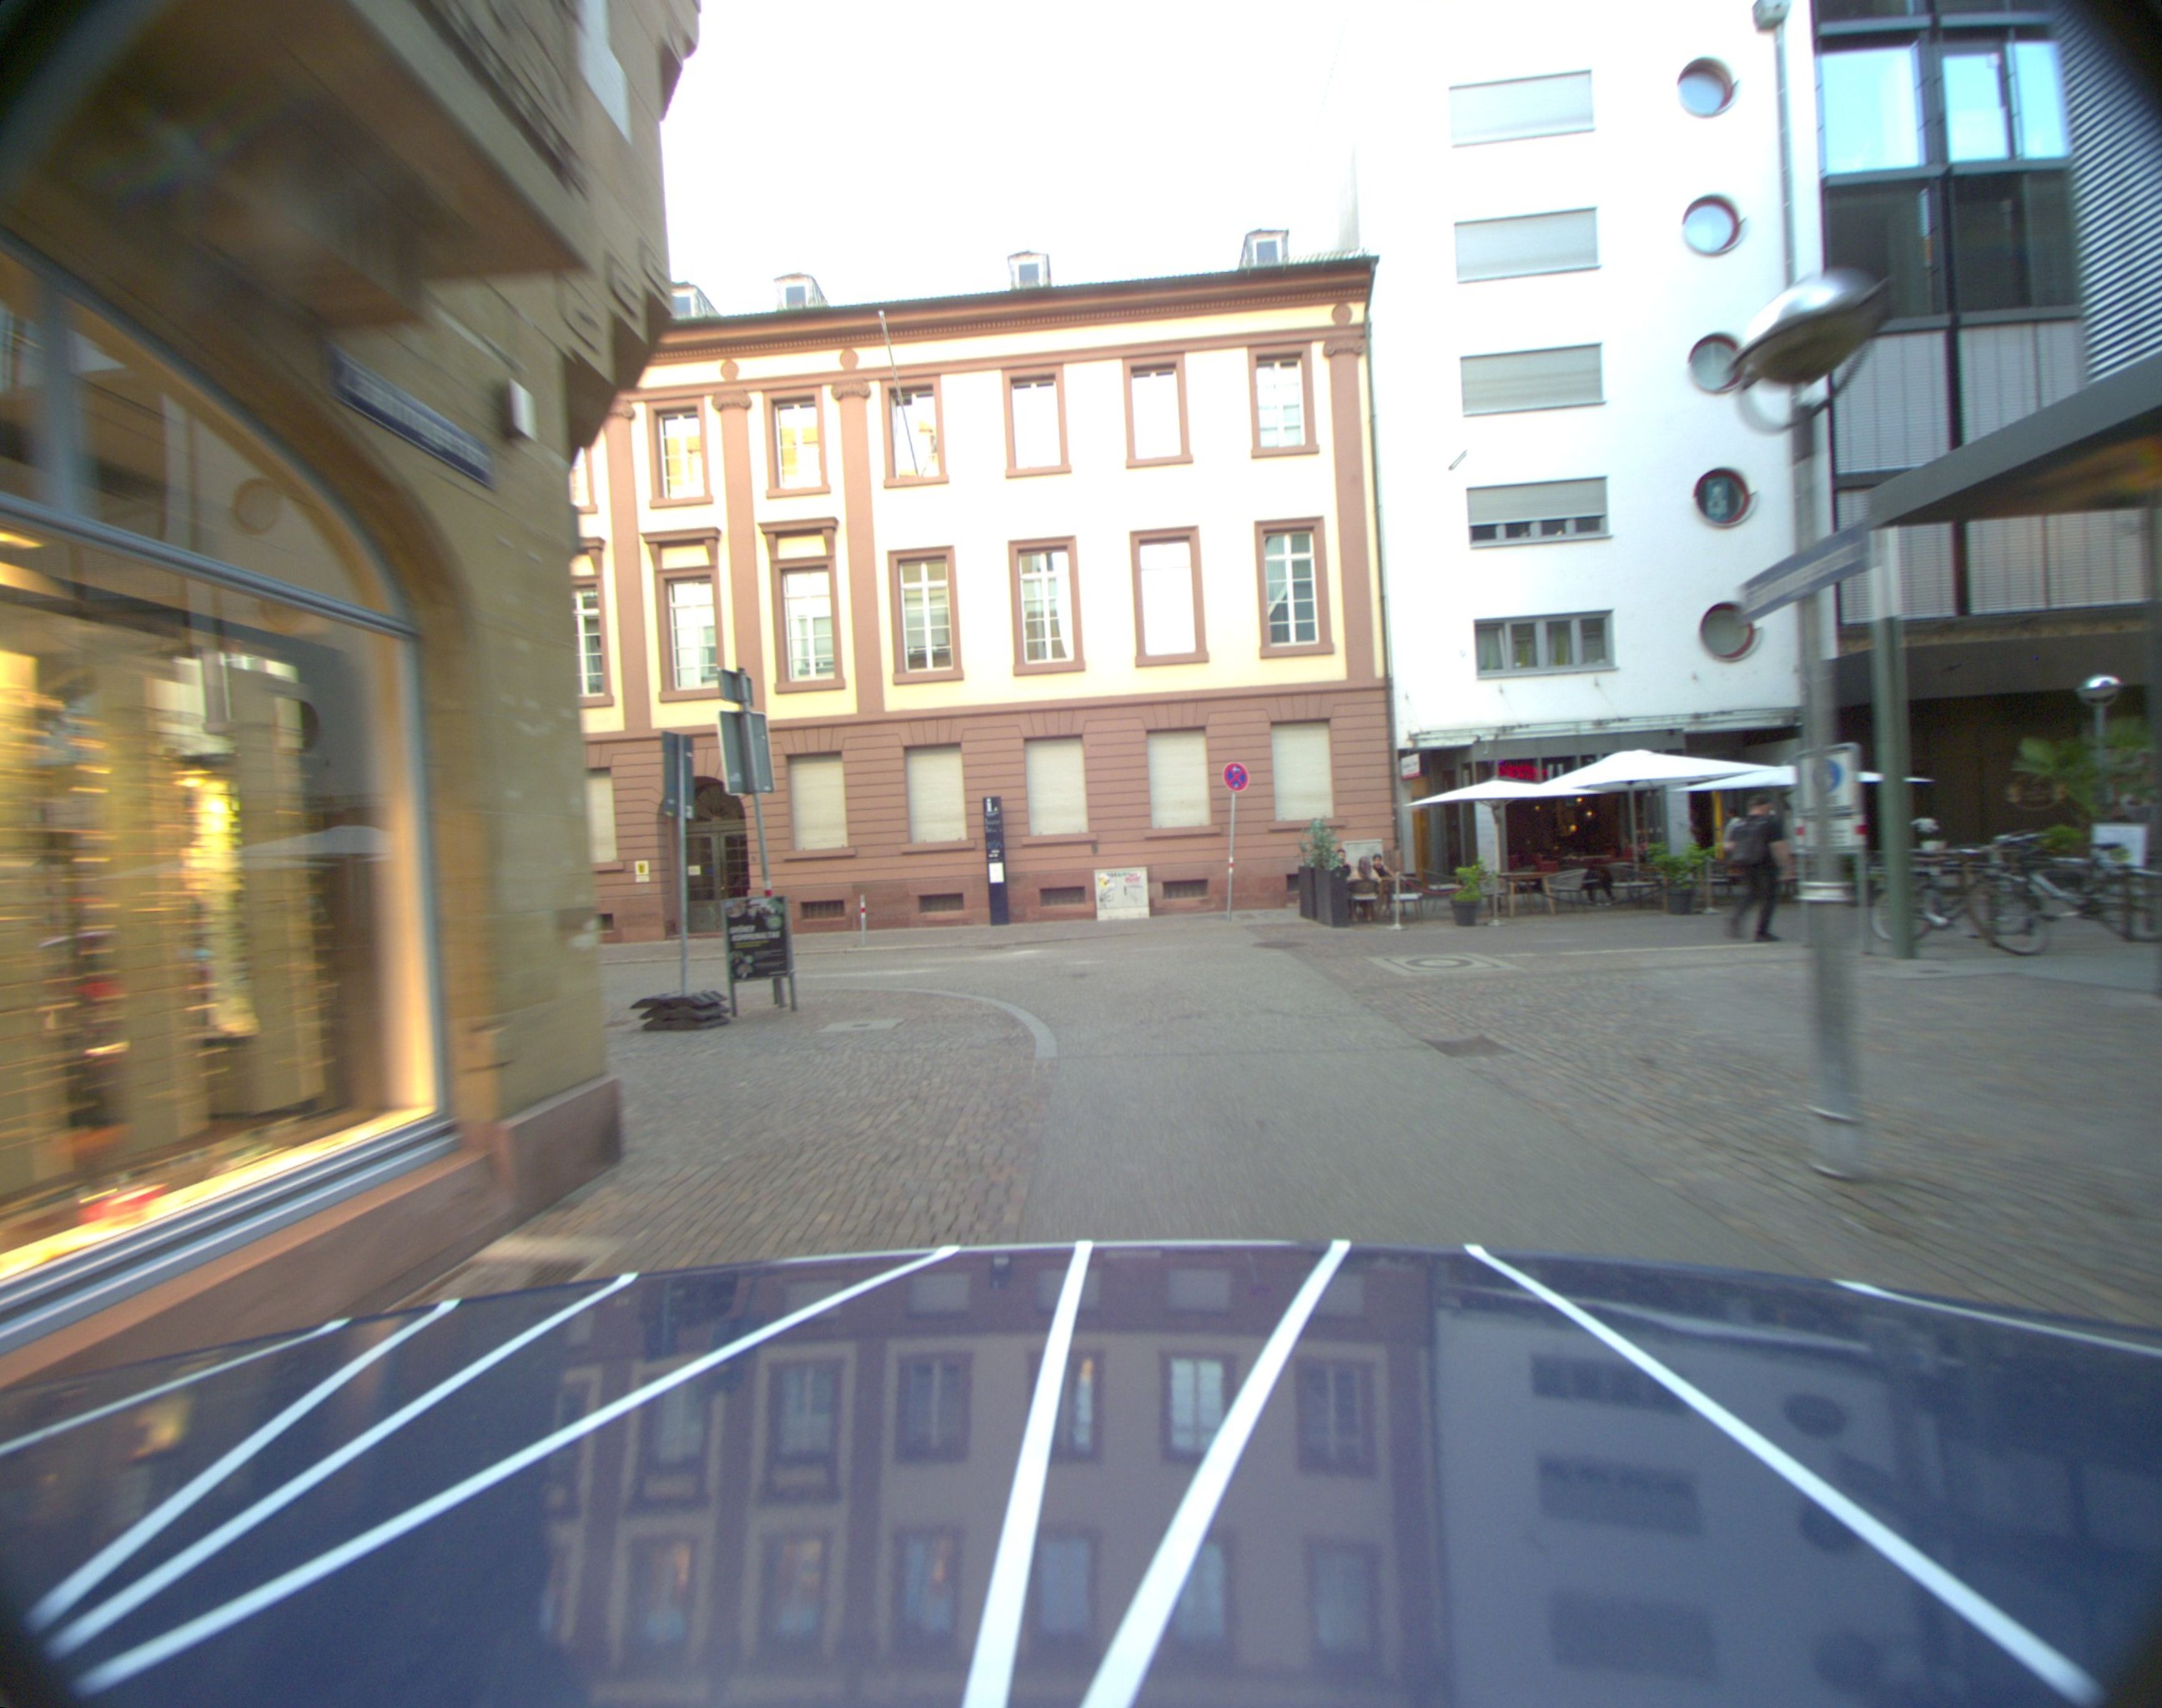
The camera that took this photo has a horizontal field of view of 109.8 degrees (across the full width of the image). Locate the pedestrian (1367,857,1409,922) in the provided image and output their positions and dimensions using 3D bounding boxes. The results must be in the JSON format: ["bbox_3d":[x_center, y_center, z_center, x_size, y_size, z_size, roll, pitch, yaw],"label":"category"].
[{"bbox_3d":[5.880,0.674,14.574,0.548,1.204,0.524,-3,1,5],"label":"pedestrian"}]

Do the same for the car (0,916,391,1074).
[{"bbox_3d":[-11.328,1.708,9.450,3.996,1.435,1.650,-3,3,4],"label":"car"}]

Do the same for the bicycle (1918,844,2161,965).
[{"bbox_3d":[10.488,0.507,8.311,0.609,1.143,1.842,-3,-1,1],"label":"bicycle"}]

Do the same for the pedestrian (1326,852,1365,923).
[{"bbox_3d":[5.170,0.645,14.848,0.548,1.341,0.489,-3,1,5],"label":"pedestrian"}]

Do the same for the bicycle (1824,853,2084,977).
[{"bbox_3d":[8.855,0.579,7.833,0.709,1.106,1.674,-3,-1,1],"label":"bicycle"}]

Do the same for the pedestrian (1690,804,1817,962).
[{"bbox_3d":[8.112,0.327,9.178,0.969,1.775,0.739,-4,1,-21],"label":"pedestrian"}]

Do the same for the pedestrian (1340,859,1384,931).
[{"bbox_3d":[4.914,0.707,13.313,0.561,1.204,0.461,-3,1,5],"label":"pedestrian"}]

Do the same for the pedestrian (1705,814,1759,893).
[{"bbox_3d":[14.147,-0.004,16.522,0.671,1.656,0.623,-4,1,-25],"label":"pedestrian"}]
